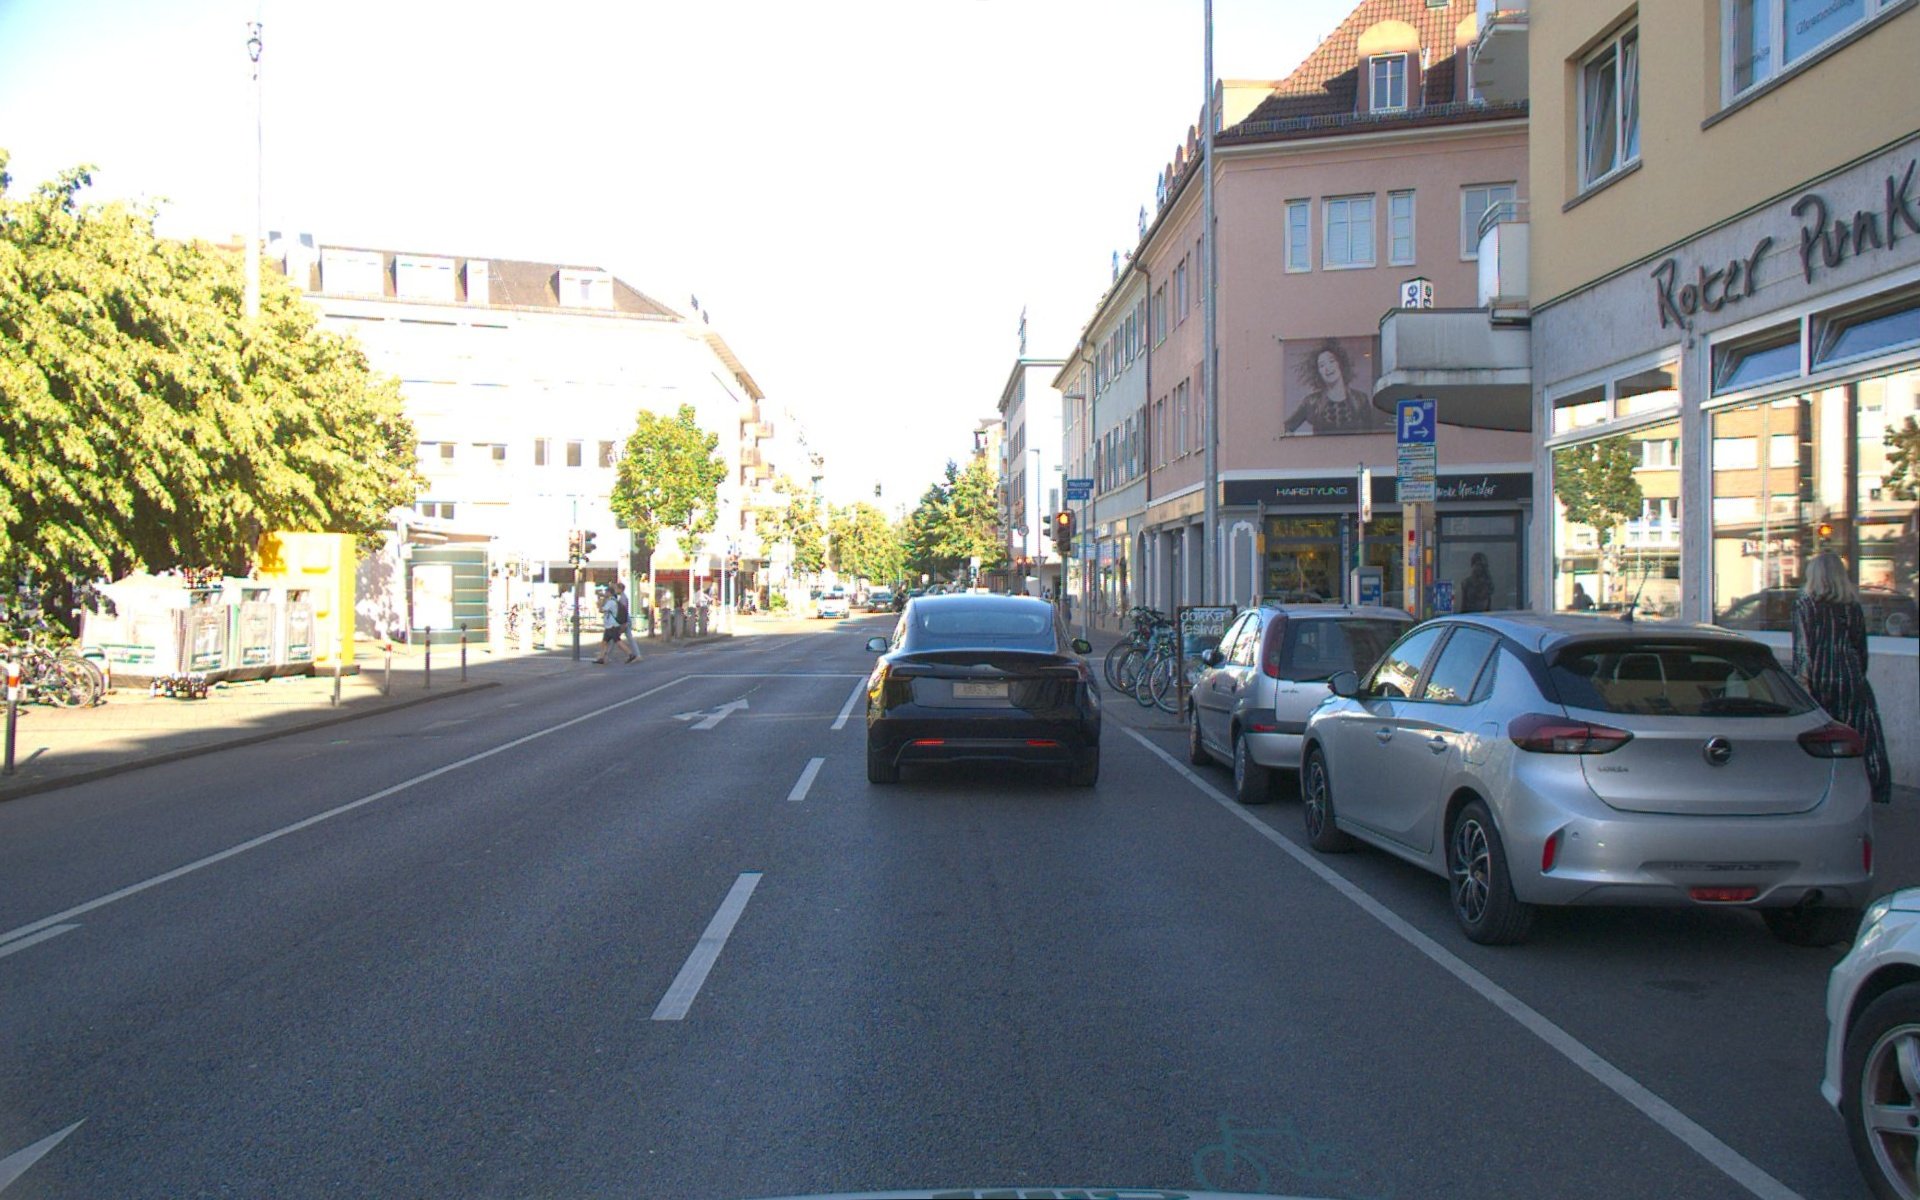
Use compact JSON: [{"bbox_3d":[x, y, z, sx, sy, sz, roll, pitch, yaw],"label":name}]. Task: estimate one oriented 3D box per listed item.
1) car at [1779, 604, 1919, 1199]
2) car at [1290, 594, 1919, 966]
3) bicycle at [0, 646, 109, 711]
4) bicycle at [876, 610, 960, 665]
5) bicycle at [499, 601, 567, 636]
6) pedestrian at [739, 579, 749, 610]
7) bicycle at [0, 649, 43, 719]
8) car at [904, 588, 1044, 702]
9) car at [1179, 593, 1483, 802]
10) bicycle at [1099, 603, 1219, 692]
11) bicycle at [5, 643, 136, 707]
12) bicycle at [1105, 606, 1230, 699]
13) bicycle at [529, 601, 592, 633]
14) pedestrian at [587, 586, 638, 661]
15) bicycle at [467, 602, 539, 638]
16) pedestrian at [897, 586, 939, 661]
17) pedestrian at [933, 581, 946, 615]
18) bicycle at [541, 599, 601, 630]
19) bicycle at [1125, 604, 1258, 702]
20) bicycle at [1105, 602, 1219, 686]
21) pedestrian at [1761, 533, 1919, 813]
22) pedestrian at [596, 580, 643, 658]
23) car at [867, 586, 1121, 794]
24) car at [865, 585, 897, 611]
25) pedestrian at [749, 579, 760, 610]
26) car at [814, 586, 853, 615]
[{"bbox_3d":[3.170,0.766,2.351,1.703,1.472,4.463,0,0,-2],"label":"car"},{"bbox_3d":[2.991,0.703,8.581,1.636,1.452,4.076,0,0,-2],"label":"car"},{"bbox_3d":[-11.585,0.989,20.912,1.442,0.782,0.441,1,0,4],"label":"bicycle"},{"bbox_3d":[-0.837,0.739,32.856,1.581,1.063,0.591,1,0,8],"label":"bicycle"},{"bbox_3d":[-14.109,0.606,54.710,2.040,1.123,0.806,0,0,-1],"label":"bicycle"},{"bbox_3d":[-14.245,-0.350,109.037,0.613,2.049,0.707,0,0,-1],"label":"pedestrian"},{"bbox_3d":[-11.730,0.974,19.522,1.621,0.782,0.475,1,0,8],"label":"bicycle"},{"bbox_3d":[0.195,0.574,23.376,1.812,1.480,3.786,0,0,0],"label":"car"},{"bbox_3d":[2.804,0.663,13.297,1.588,1.419,3.886,0,0,0],"label":"car"},{"bbox_3d":[2.797,0.660,23.311,1.595,1.180,0.432,-2,0,-2],"label":"bicycle"},{"bbox_3d":[-11.538,0.972,21.472,1.442,0.782,0.475,1,0,2],"label":"bicycle"},{"bbox_3d":[2.775,0.694,22.168,1.595,1.180,0.432,-2,0,-2],"label":"bicycle"},{"bbox_3d":[-14.358,0.601,59.482,2.040,1.123,0.806,0,0,-1],"label":"bicycle"},{"bbox_3d":[-7.822,0.529,37.275,0.965,1.665,0.737,0,0,3],"label":"pedestrian"},{"bbox_3d":[-14.412,0.629,52.186,2.040,1.123,0.806,0,0,-1],"label":"bicycle"},{"bbox_3d":[-0.837,0.463,32.813,0.727,1.465,0.583,1,0,8],"label":"pedestrian"},{"bbox_3d":[-1.247,-0.139,99.038,0.614,2.049,0.559,0,0,24],"label":"pedestrian"},{"bbox_3d":[-14.492,0.549,61.674,2.040,1.123,0.806,0,0,-1],"label":"bicycle"},{"bbox_3d":[2.931,0.666,20.982,1.595,1.180,0.432,-2,0,-2],"label":"bicycle"},{"bbox_3d":[2.981,0.640,24.457,1.594,1.180,0.433,-2,0,0],"label":"bicycle"},{"bbox_3d":[5.475,0.441,10.270,0.648,1.661,0.628,-2,0,3],"label":"pedestrian"},{"bbox_3d":[-7.798,0.430,37.947,0.882,1.755,0.744,0,0,3],"label":"pedestrian"},{"bbox_3d":[0.252,0.632,13.718,1.812,1.480,3.786,0,0,0],"label":"car"},{"bbox_3d":[-5.521,-0.156,115.936,2.008,1.757,4.654,0,0,0],"label":"car"},{"bbox_3d":[-13.530,-0.389,108.997,0.613,2.049,0.575,0,0,-1],"label":"pedestrian"},{"bbox_3d":[-7.462,-0.010,97.794,1.953,1.567,4.000,-3,0,-1],"label":"car"}]
